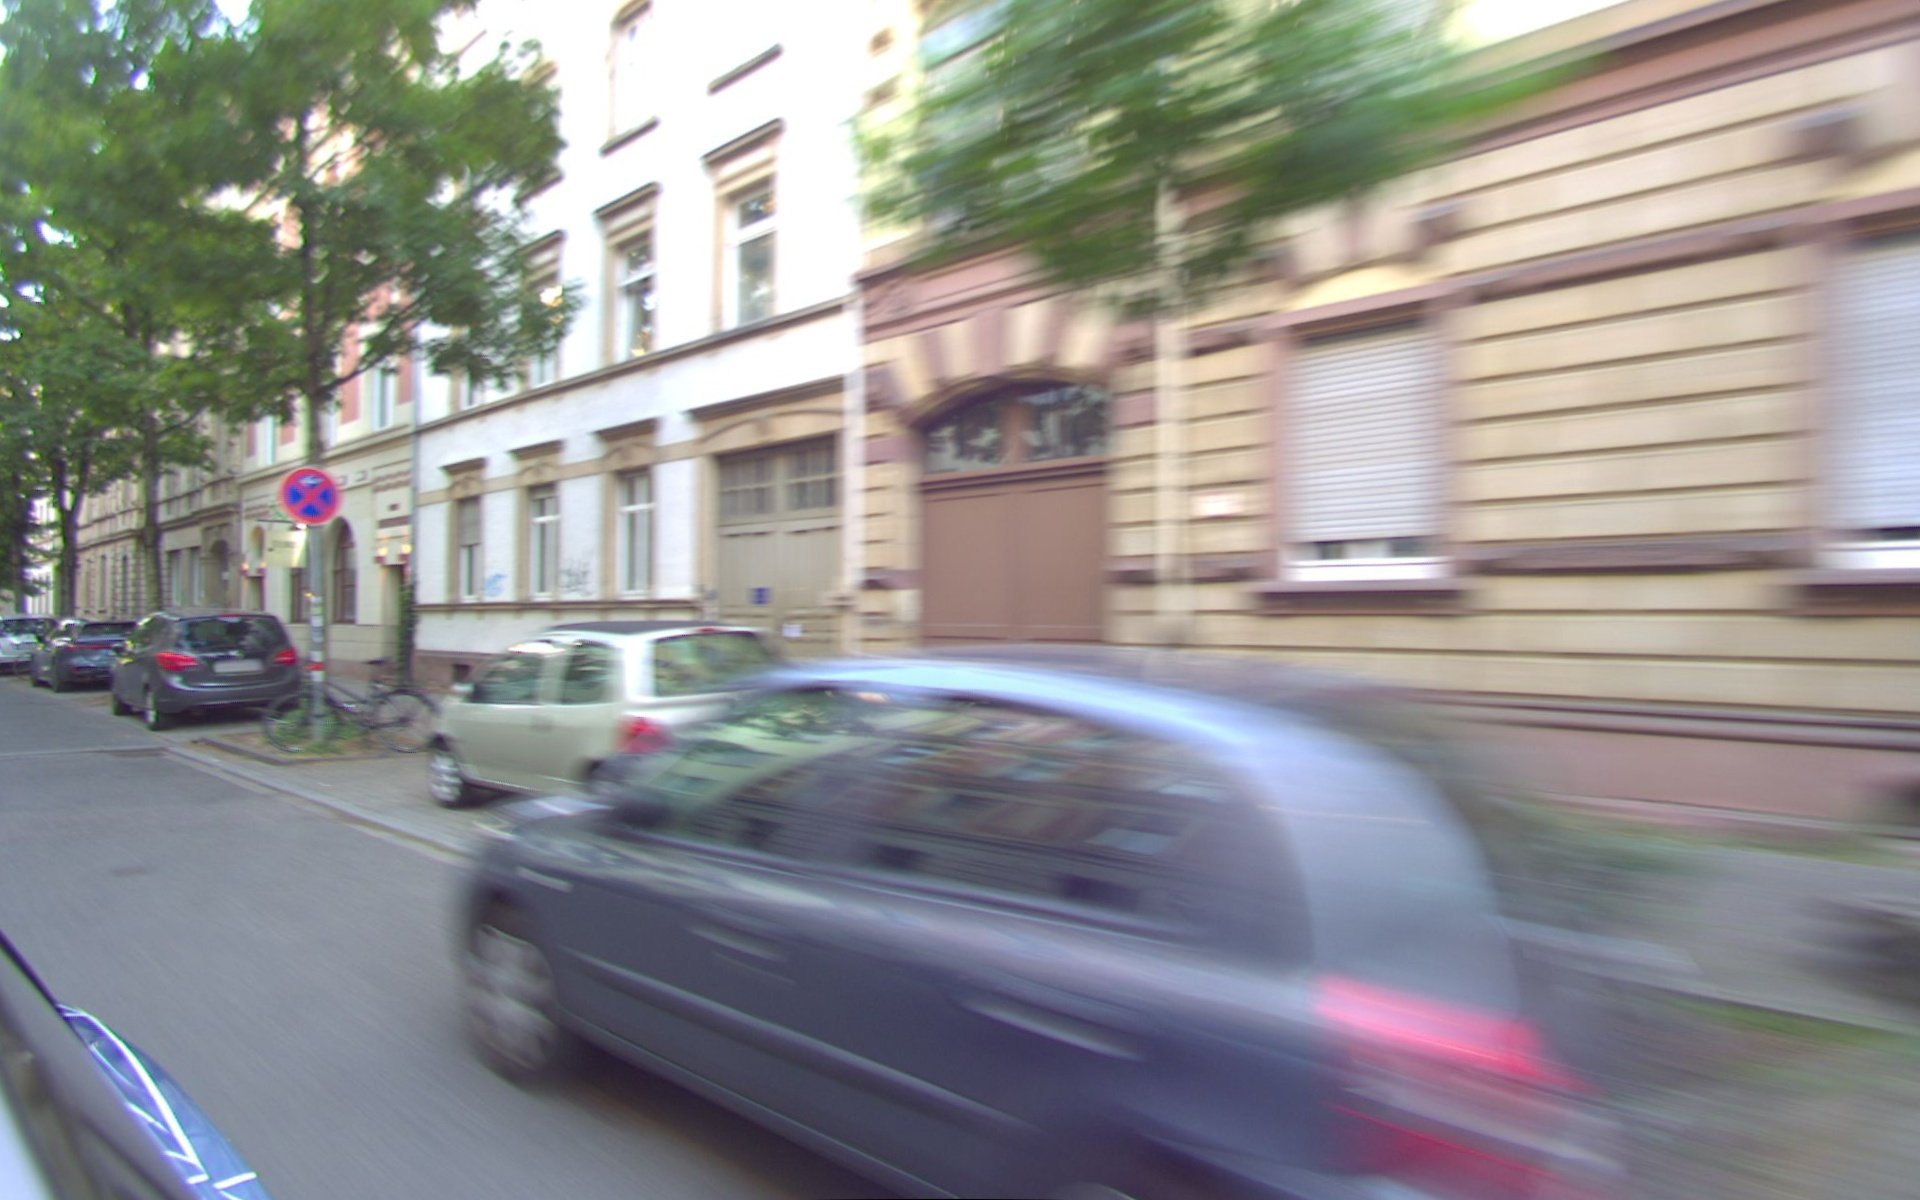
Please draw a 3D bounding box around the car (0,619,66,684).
[{"bbox_3d":[-25.219,1.337,27.014,3.861,1.620,1.658,-1,-1,43],"label":"car"}]

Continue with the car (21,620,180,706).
[{"bbox_3d":[-17.686,1.199,20.736,4.682,1.529,1.787,-1,0,41],"label":"car"}]

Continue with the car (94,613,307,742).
[{"bbox_3d":[-11.149,1.036,14.756,4.076,1.593,1.688,-2,-1,42],"label":"car"}]

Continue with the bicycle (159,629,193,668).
[{"bbox_3d":[-22.862,1.411,29.499,1.629,1.098,0.457,-2,0,42],"label":"bicycle"}]

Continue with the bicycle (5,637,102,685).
[{"bbox_3d":[-21.578,1.428,24.108,0.430,1.011,1.666,-1,1,42],"label":"bicycle"}]

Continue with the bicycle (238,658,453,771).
[{"bbox_3d":[-6.368,1.172,10.563,1.799,1.093,0.669,0,0,-6],"label":"bicycle"}]

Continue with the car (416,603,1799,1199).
[{"bbox_3d":[0.012,0.764,2.968,3.750,1.431,1.564,-1,-2,40],"label":"car"}]

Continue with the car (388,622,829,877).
[{"bbox_3d":[-2.787,0.914,7.676,3.563,1.448,1.571,-1,0,40],"label":"car"}]
